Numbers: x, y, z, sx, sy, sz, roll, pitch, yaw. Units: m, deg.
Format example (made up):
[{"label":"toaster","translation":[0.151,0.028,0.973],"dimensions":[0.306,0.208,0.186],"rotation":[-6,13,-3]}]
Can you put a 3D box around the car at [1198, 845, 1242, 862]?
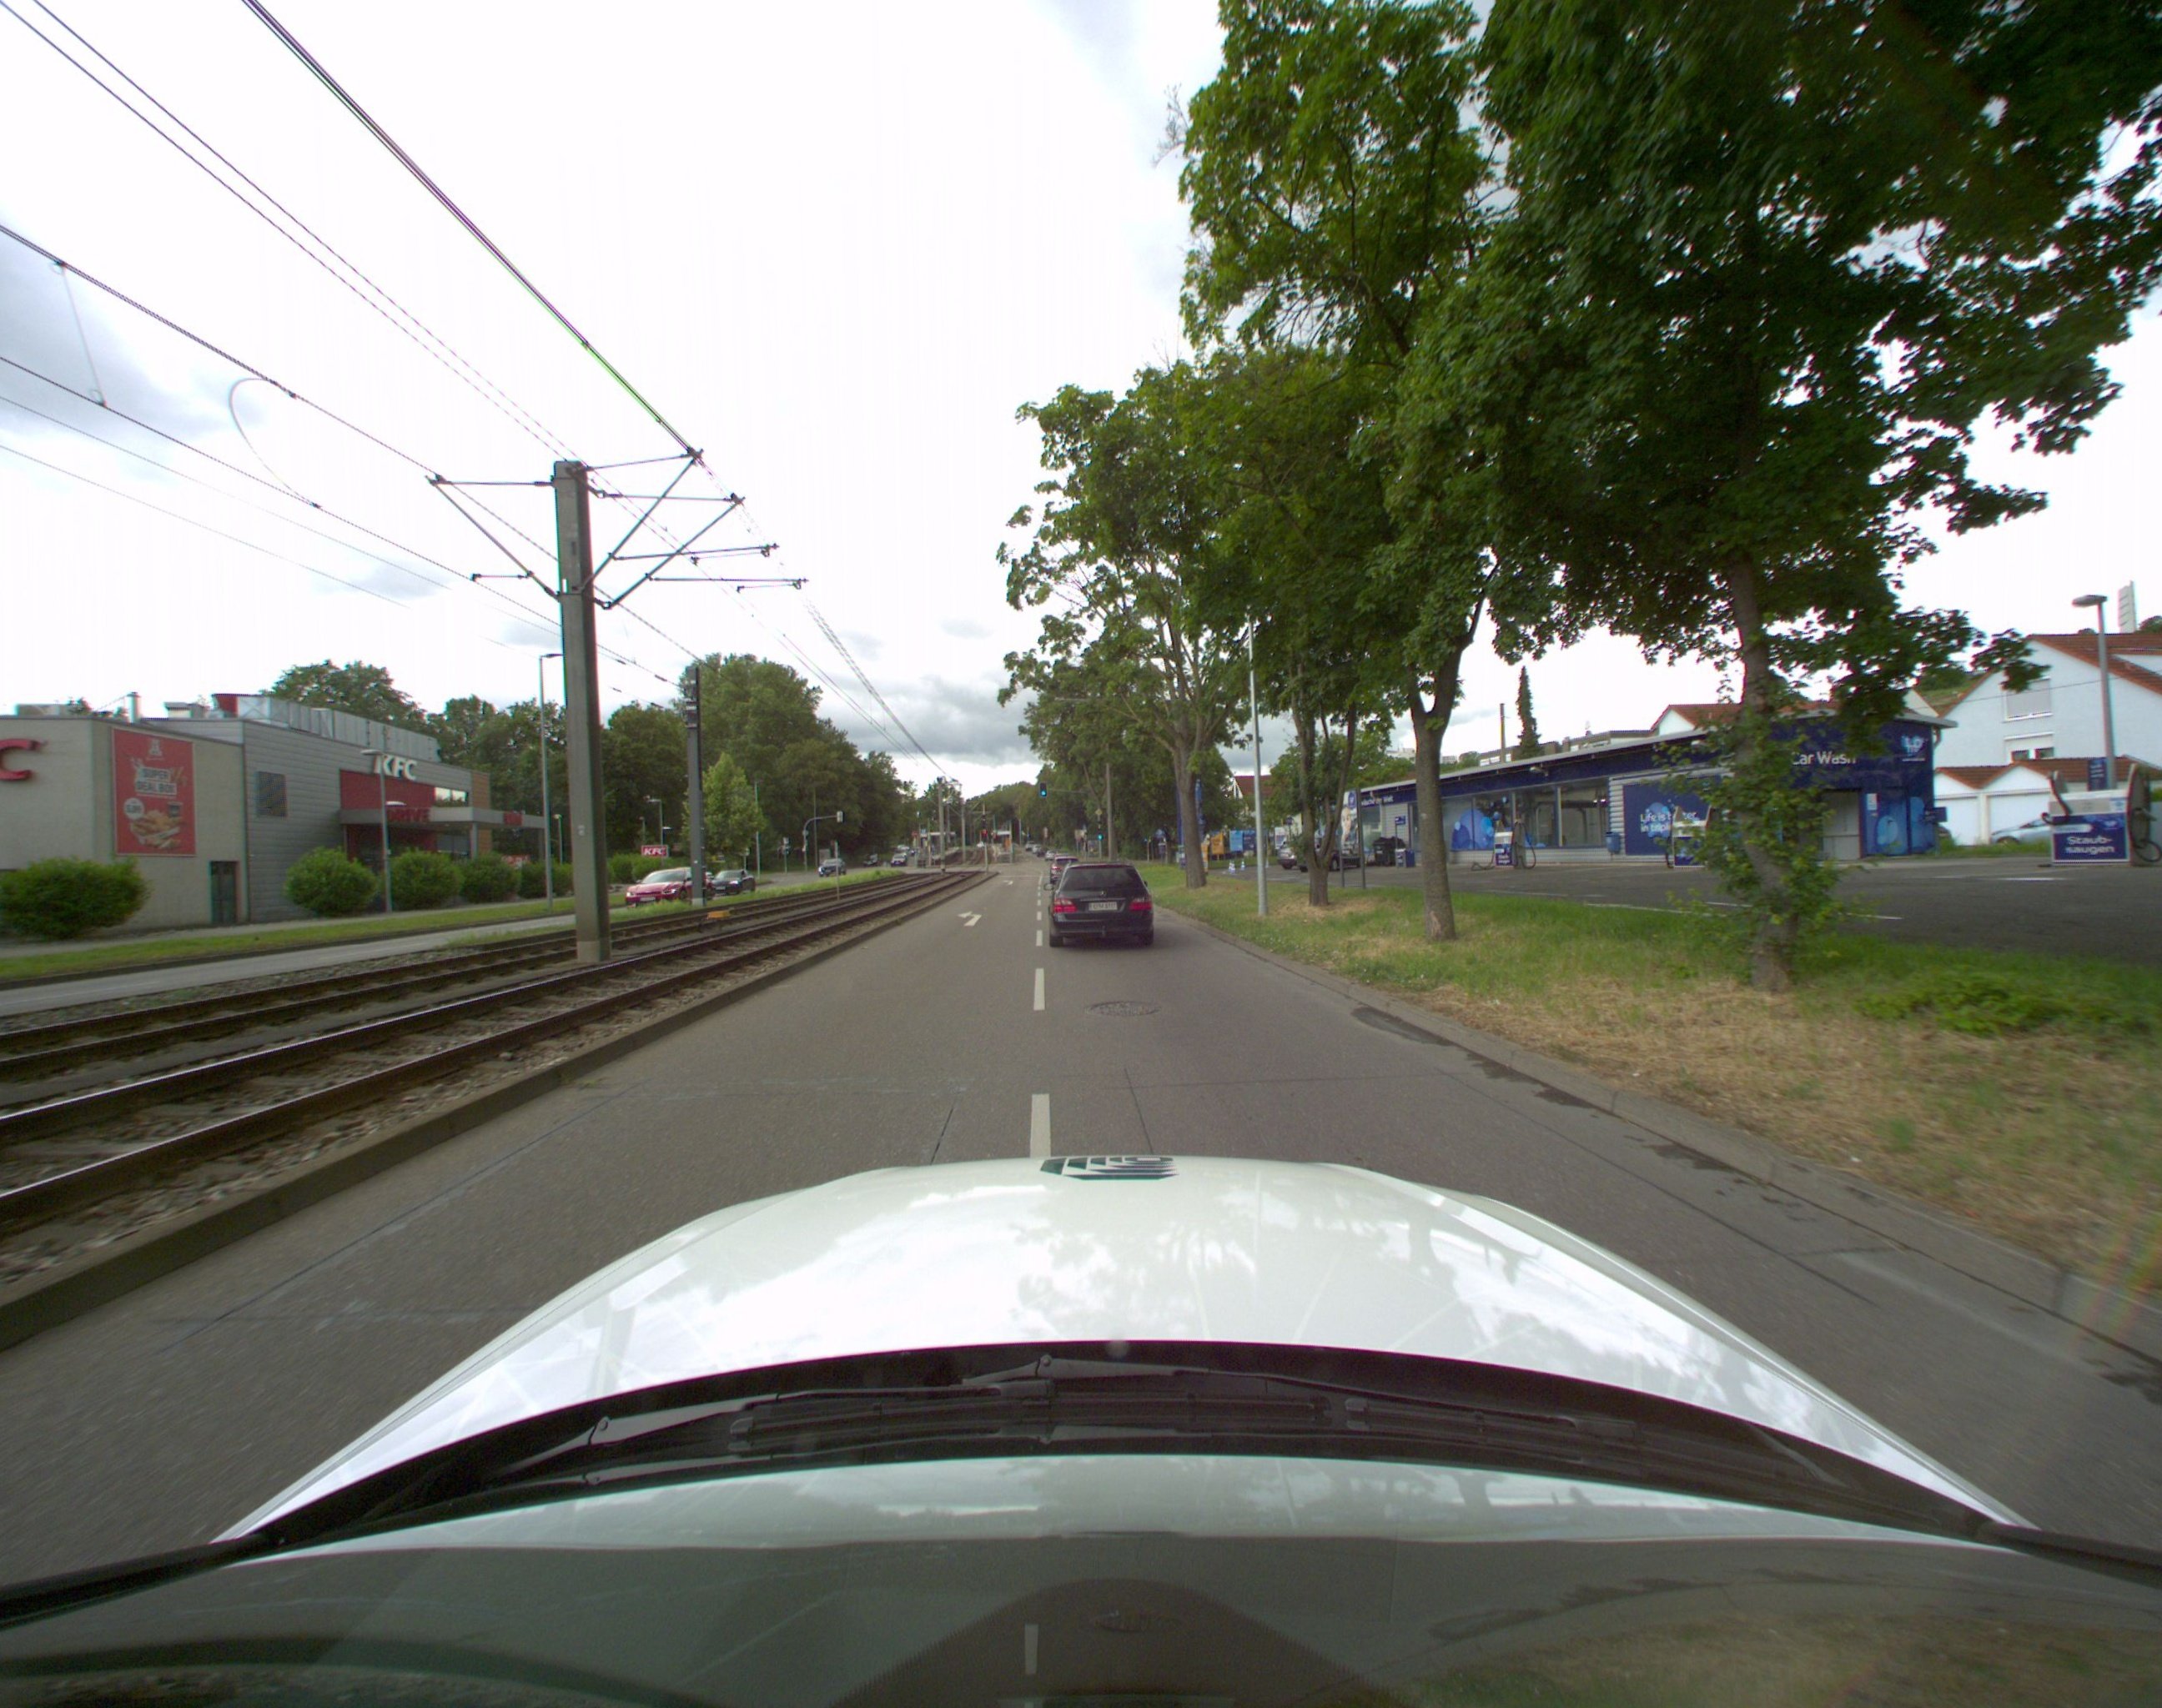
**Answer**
[{"label":"car","translation":[13.988,-0.017,82.233],"dimensions":[4.136,1.526,1.705],"rotation":[-2,-1,2]}]

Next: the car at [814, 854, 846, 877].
[{"label":"car","translation":[-22.862,1.022,74.367],"dimensions":[1.992,2.013,4.236],"rotation":[-2,0,-7]}]

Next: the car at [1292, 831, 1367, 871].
[{"label":"car","translation":[12.575,-0.198,41.002],"dimensions":[1.729,1.821,4.411],"rotation":[-3,0,44]}]

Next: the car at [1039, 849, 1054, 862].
[{"label":"car","translation":[-5.150,0.279,122.164],"dimensions":[1.992,1.966,3.990],"rotation":[0,0,-7]}]

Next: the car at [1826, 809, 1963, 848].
[{"label":"car","translation":[36.322,-1.103,36.498],"dimensions":[1.785,1.575,3.974],"rotation":[0,0,-19]}]

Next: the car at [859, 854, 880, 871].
[{"label":"car","translation":[-27.166,1.115,104.772],"dimensions":[1.992,2.013,4.096],"rotation":[-2,0,-7]}]

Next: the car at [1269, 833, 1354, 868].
[{"label":"car","translation":[12.706,-0.222,44.897],"dimensions":[4.215,1.697,1.827],"rotation":[-3,1,-21]}]

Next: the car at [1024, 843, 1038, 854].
[{"label":"car","translation":[-9.520,-0.957,155.122],"dimensions":[1.997,2.014,3.980],"rotation":[0,0,-15]}]

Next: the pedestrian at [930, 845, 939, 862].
[{"label":"pedestrian","translation":[-18.556,-0.046,102.895],"dimensions":[0.968,2.186,0.974],"rotation":[-2,0,-5]}]

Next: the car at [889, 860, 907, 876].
[{"label":"car","translation":[-21.550,1.643,96.060],"dimensions":[1.695,1.860,3.990],"rotation":[0,0,-7]}]

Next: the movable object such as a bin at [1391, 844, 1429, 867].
[{"label":"movable object such as a bin","translation":[15.318,0.073,37.964],"dimensions":[1.157,0.976,1.185],"rotation":[-3,0,-7]}]

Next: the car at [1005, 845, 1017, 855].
[{"label":"car","translation":[-15.500,-0.868,180.264],"dimensions":[1.998,2.014,3.977],"rotation":[0,0,-17]}]

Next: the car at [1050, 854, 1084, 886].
[{"label":"car","translation":[-0.757,0.858,44.328],"dimensions":[1.776,1.648,3.999],"rotation":[0,0,-1]}]

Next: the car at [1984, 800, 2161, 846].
[{"label":"car","translation":[37.955,-1.129,31.327],"dimensions":[1.786,1.575,3.974],"rotation":[0,0,-20]}]

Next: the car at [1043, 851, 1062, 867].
[{"label":"car","translation":[-3.579,0.627,102.184],"dimensions":[1.992,1.893,3.990],"rotation":[0,0,-7]}]

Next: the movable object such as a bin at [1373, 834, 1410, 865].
[{"label":"movable object such as a bin","translation":[15.508,-0.241,40.744],"dimensions":[1.157,1.474,1.384],"rotation":[-3,0,-7]}]

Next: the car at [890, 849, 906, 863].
[{"label":"car","translation":[-28.419,0.262,126.382],"dimensions":[1.993,2.013,4.870],"rotation":[-3,0,-9]}]

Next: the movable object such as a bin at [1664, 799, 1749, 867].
[{"label":"movable object such as a bin","translation":[17.635,-0.577,23.011],"dimensions":[1.157,1.818,1.452],"rotation":[-3,0,-7]}]

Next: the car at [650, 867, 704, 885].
[{"label":"car","translation":[-36.242,1.976,73.171],"dimensions":[3.872,1.408,1.844],"rotation":[-3,0,-5]}]

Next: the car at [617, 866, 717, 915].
[{"label":"car","translation":[-15.641,1.316,31.030],"dimensions":[1.781,1.582,4.473],"rotation":[-4,0,-6]}]

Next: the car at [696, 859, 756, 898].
[{"label":"car","translation":[-20.262,1.362,46.635],"dimensions":[1.992,2.013,3.990],"rotation":[-2,0,-7]}]

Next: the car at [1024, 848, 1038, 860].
[{"label":"car","translation":[-8.594,0.064,139.324],"dimensions":[1.994,2.014,3.985],"rotation":[0,0,-11]}]

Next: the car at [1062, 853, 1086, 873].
[{"label":"car","translation":[-0.757,0.905,80.779],"dimensions":[1.992,1.918,3.990],"rotation":[0,0,-7]}]

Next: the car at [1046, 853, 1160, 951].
[{"label":"car","translation":[0.274,0.771,14.997],"dimensions":[1.778,1.525,3.996],"rotation":[-1,0,-3]}]
